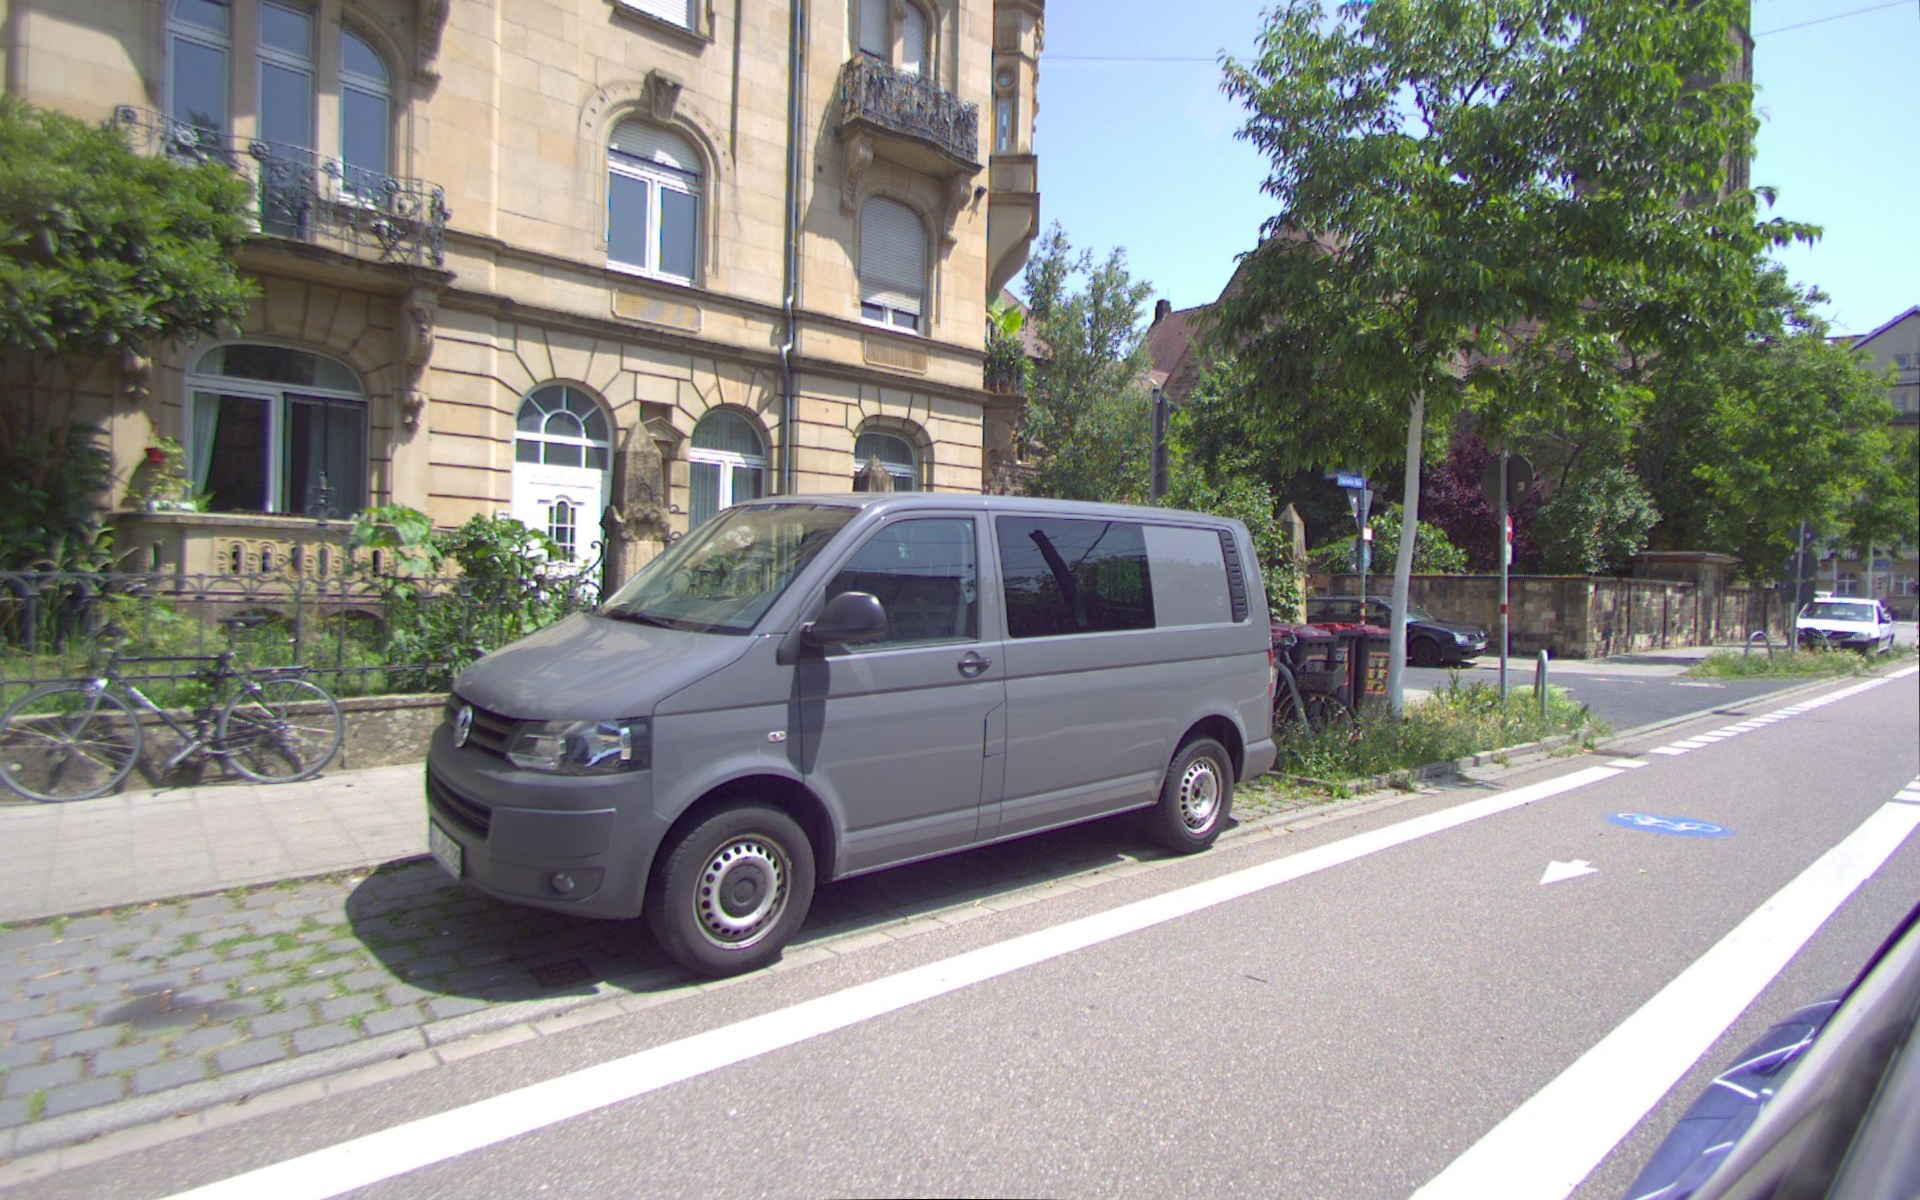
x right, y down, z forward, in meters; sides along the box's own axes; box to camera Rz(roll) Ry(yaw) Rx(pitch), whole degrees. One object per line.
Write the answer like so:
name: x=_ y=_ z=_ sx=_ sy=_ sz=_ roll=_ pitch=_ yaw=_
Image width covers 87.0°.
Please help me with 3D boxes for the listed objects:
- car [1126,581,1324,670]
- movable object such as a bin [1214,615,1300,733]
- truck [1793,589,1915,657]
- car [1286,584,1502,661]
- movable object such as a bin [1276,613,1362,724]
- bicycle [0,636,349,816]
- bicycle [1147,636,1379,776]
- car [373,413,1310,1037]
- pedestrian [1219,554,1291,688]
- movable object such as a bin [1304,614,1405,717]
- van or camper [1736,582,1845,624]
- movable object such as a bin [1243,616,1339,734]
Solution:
car: x=4.999 y=0.416 z=19.421 sx=1.526 sy=1.510 sz=3.461 roll=0 pitch=1 yaw=-38
movable object such as a bin: x=2.751 y=0.660 z=9.377 sx=0.594 sy=1.024 sz=0.557 roll=1 pitch=0 yaw=40
truck: x=22.671 y=0.529 z=25.609 sx=4.388 sy=1.545 sz=1.792 roll=0 pitch=1 yaw=-42
car: x=9.745 y=0.444 z=22.967 sx=1.645 sy=1.510 sz=4.188 roll=0 pitch=2 yaw=-42
movable object such as a bin: x=3.682 y=0.685 z=10.400 sx=0.486 sy=1.075 sz=0.672 roll=0 pitch=0 yaw=-34
bicycle: x=-4.603 y=0.687 z=6.016 sx=1.606 sy=0.891 sz=0.441 roll=0 pitch=1 yaw=-41
bicycle: x=2.541 y=0.854 z=8.666 sx=1.879 sy=1.004 sz=0.463 roll=1 pitch=0 yaw=41
car: x=-0.269 y=0.362 z=5.456 sx=4.751 sy=1.971 sz=1.883 roll=0 pitch=2 yaw=-41
pedestrian: x=3.690 y=0.249 z=12.654 sx=0.714 sy=1.618 sz=0.553 roll=0 pitch=0 yaw=-38
movable object such as a bin: x=4.222 y=0.681 z=10.856 sx=0.637 sy=1.026 sz=0.790 roll=0 pitch=0 yaw=-34
van or camper: x=42.198 y=0.137 z=51.492 sx=1.771 sy=1.848 sz=3.995 roll=3 pitch=1 yaw=-41
movable object such as a bin: x=3.222 y=0.702 z=9.879 sx=0.486 sy=1.075 sz=0.749 roll=0 pitch=0 yaw=-34
